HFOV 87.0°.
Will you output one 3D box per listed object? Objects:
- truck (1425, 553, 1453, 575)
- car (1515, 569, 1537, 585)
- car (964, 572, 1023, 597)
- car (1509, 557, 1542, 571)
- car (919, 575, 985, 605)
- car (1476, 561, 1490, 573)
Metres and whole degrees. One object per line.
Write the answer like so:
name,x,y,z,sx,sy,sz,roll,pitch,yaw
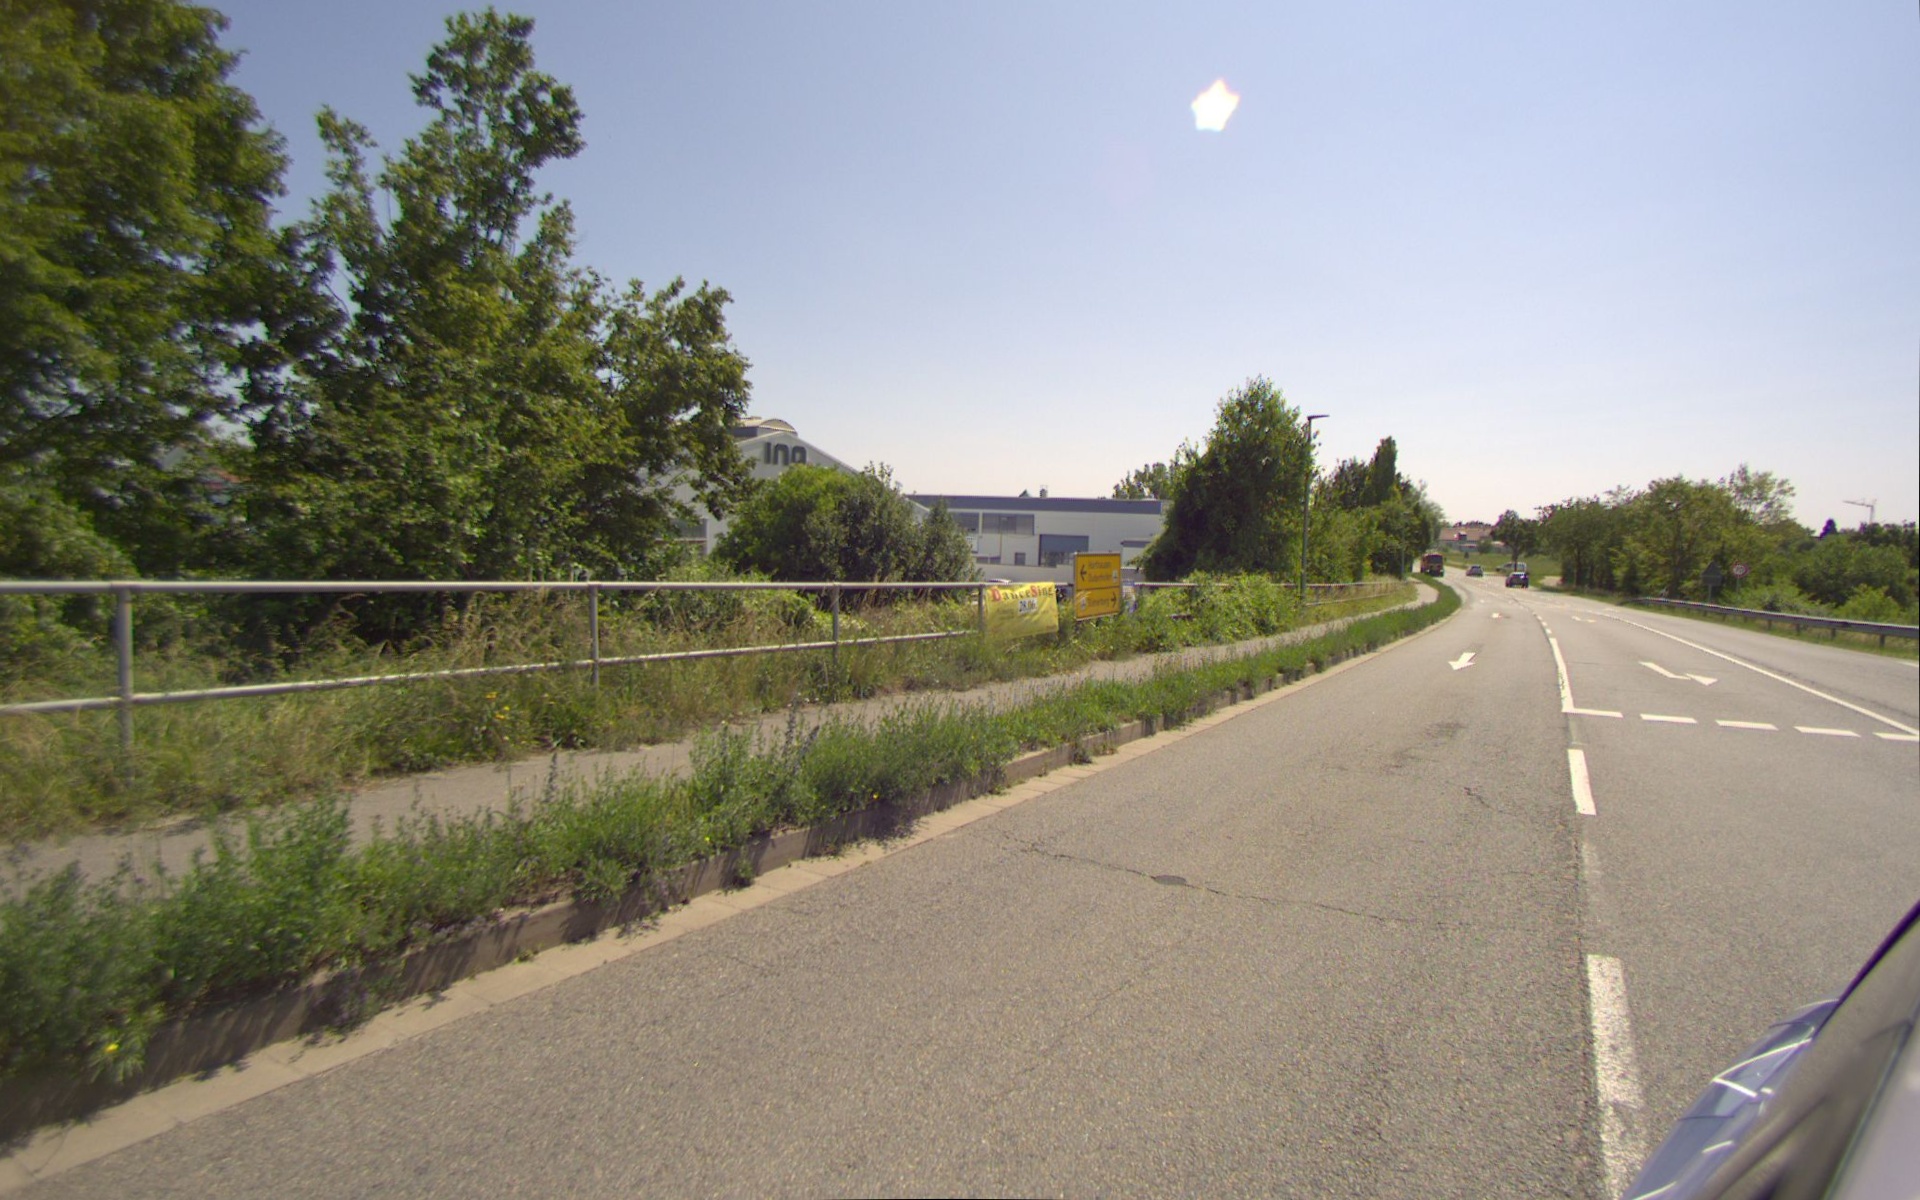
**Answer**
truck,66.295,-5.059,140.255,2.829,2.820,6.913,3,3,21
car,60.824,-2.441,108.803,1.781,1.602,4.448,3,2,27
car,2.497,-1.164,74.818,4.038,1.591,1.714,4,5,29
car,87.515,-5.559,156.645,4.375,2.038,1.825,3,2,28
car,-0.544,-0.705,67.909,4.106,1.744,1.714,4,5,29
car,72.535,-4.580,140.382,1.514,1.592,3.632,3,3,29
